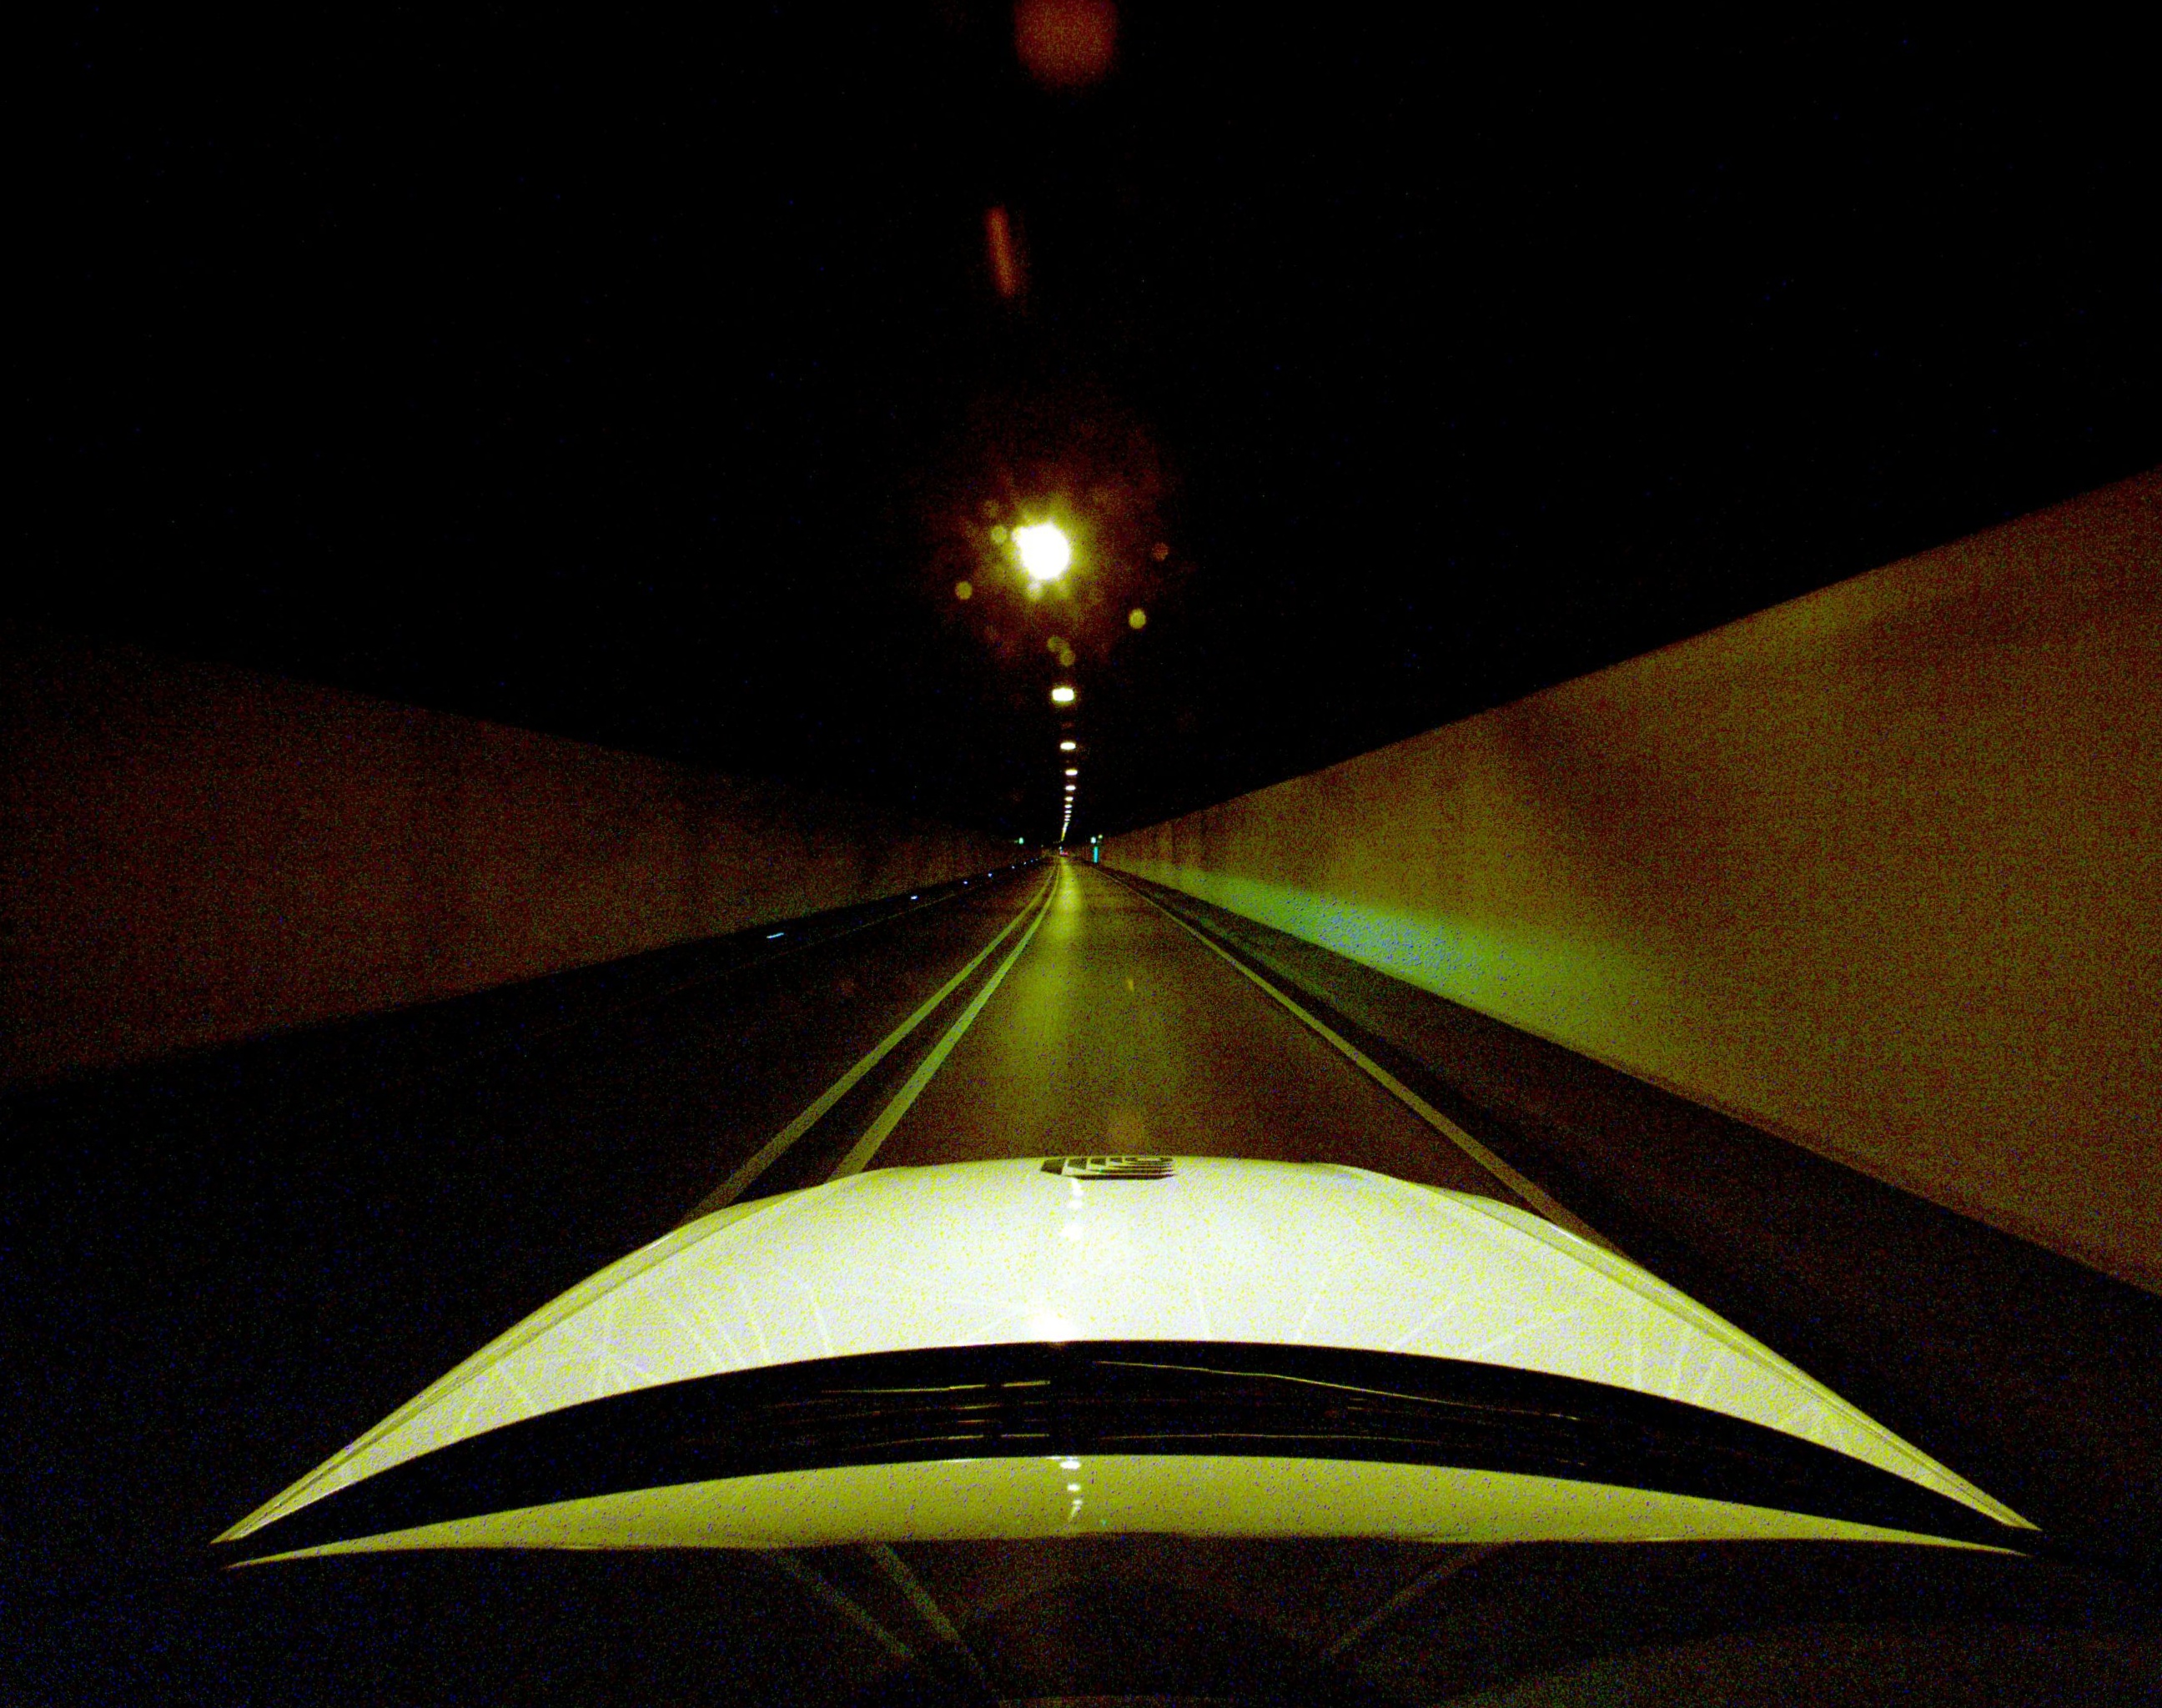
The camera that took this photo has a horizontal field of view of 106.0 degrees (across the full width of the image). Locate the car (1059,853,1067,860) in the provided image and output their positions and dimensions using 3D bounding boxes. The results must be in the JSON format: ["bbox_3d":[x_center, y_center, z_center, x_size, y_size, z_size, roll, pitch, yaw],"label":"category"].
[{"bbox_3d":[-4.979,0.727,224.220,1.964,1.939,4.603,0,-1,-6],"label":"car"}]
